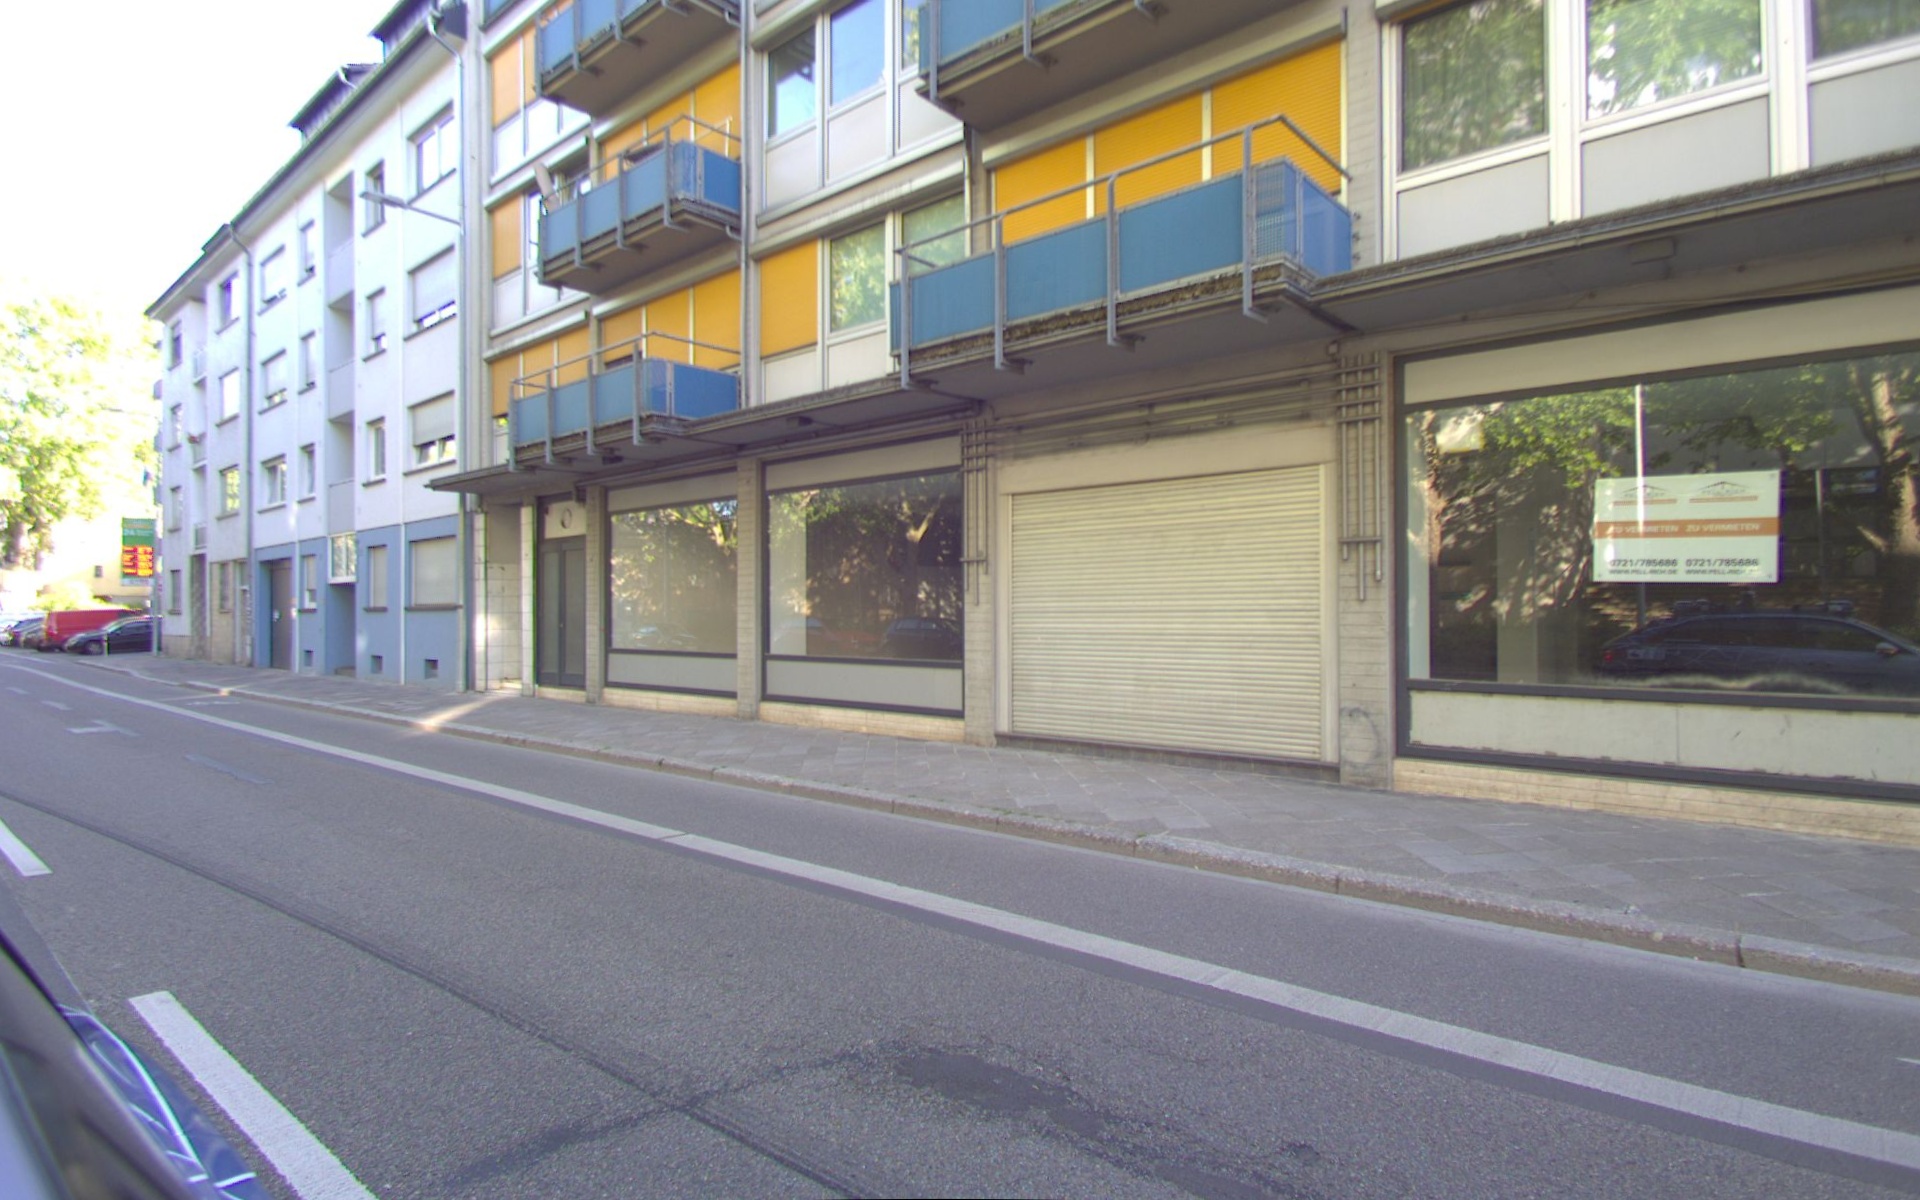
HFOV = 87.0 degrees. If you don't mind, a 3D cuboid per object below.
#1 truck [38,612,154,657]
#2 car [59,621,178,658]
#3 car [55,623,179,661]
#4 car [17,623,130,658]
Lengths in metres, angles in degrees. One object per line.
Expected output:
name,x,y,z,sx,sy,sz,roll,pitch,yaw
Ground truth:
truck,-40.489,1.578,47.481,1.761,1.951,3.944,-1,0,42
car,-38.098,1.765,45.890,1.761,1.514,3.944,-1,0,42
car,-36.617,1.769,44.002,1.761,1.468,3.944,-1,0,42
car,-42.899,1.910,49.029,1.761,1.514,3.944,-1,0,42
